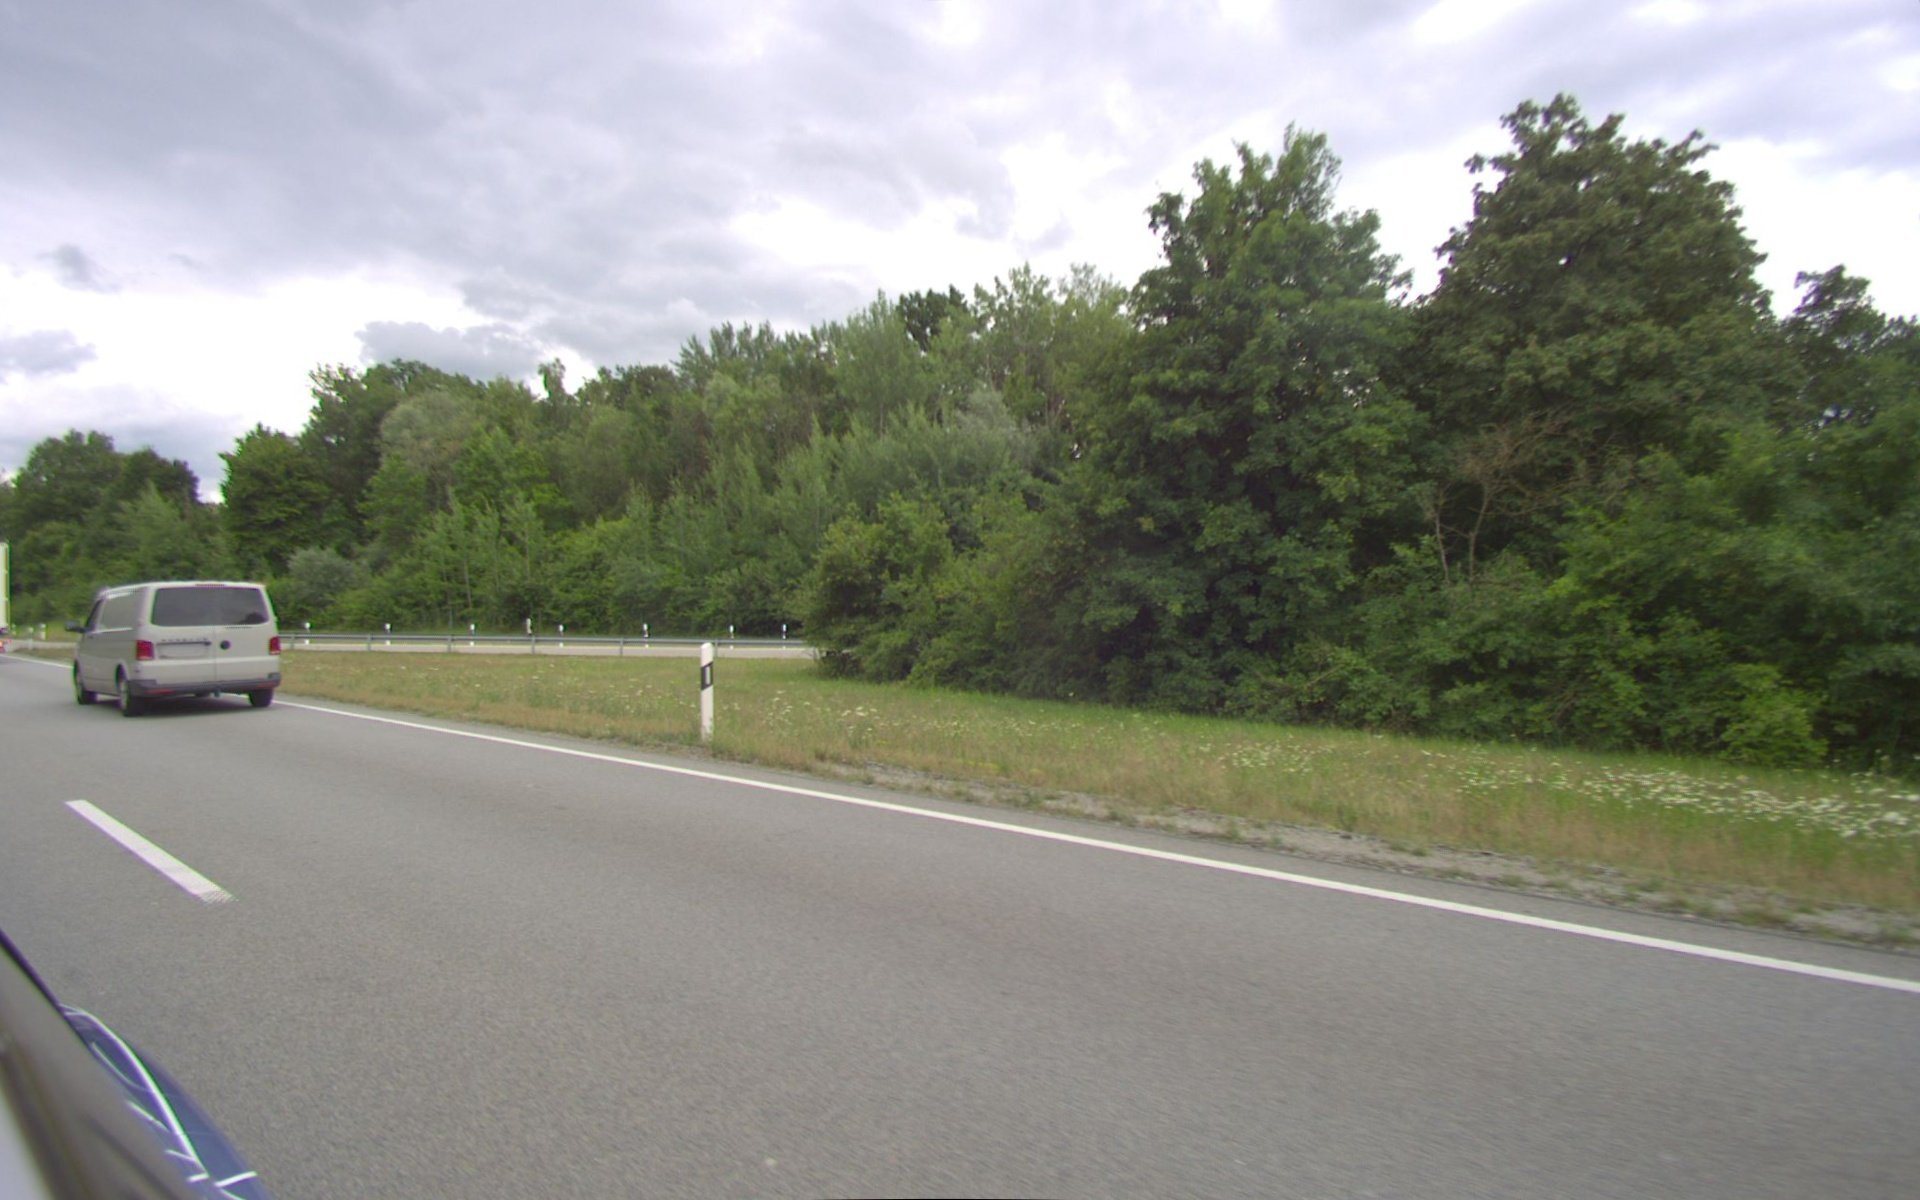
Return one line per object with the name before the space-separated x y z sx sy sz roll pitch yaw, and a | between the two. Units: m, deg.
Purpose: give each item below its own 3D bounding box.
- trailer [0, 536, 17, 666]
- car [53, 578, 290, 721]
trailer | -36.454 0.129 35.649 14.263 4.097 3.171 -1 0 41
car | -12.996 0.703 16.498 5.808 1.955 1.973 -1 0 41
